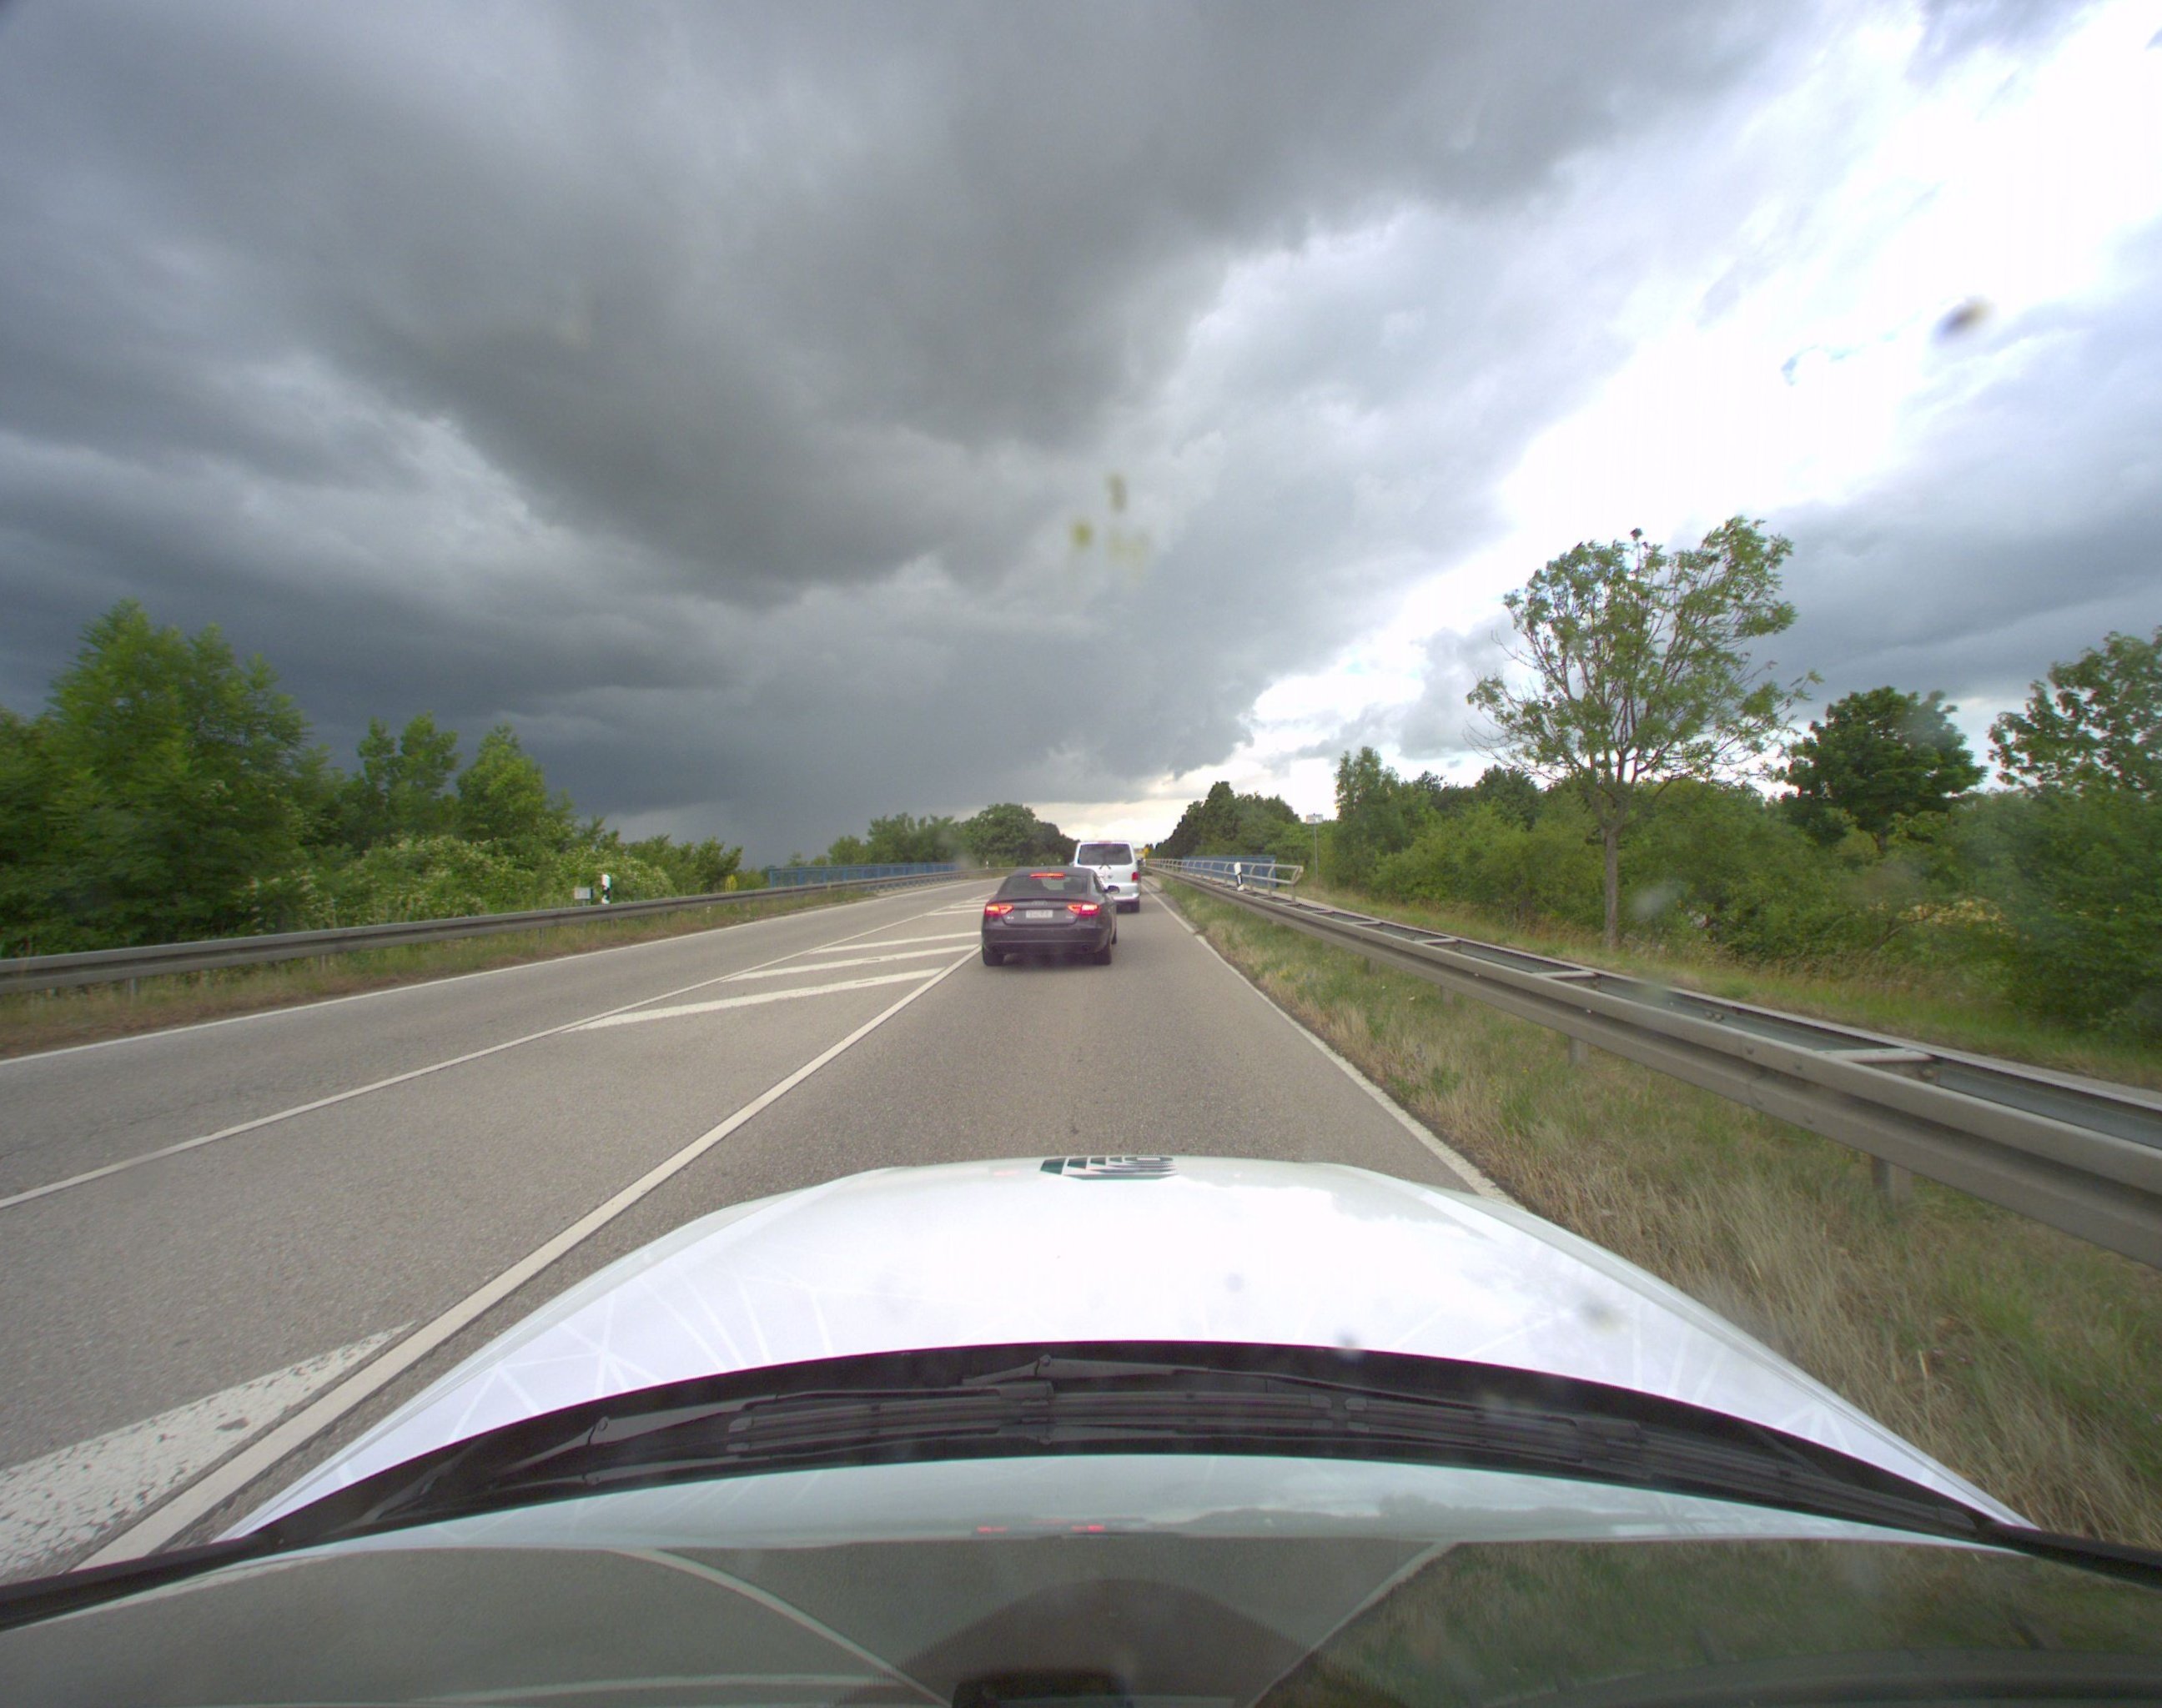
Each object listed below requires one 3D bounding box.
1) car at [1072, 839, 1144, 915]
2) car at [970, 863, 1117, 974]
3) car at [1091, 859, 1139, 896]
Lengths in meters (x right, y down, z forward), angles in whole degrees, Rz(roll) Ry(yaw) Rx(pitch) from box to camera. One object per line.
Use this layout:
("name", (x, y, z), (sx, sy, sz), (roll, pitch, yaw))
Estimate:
("car", (0.775, 0.608, 23.255), (1.821, 1.935, 4.002), (-2, -1, 2))
("car", (-0.397, 0.862, 12.602), (1.814, 1.381, 4.075), (-2, -1, 3))
("car", (1.426, 0.919, 33.287), (1.814, 1.381, 4.075), (-1, -1, 3))
